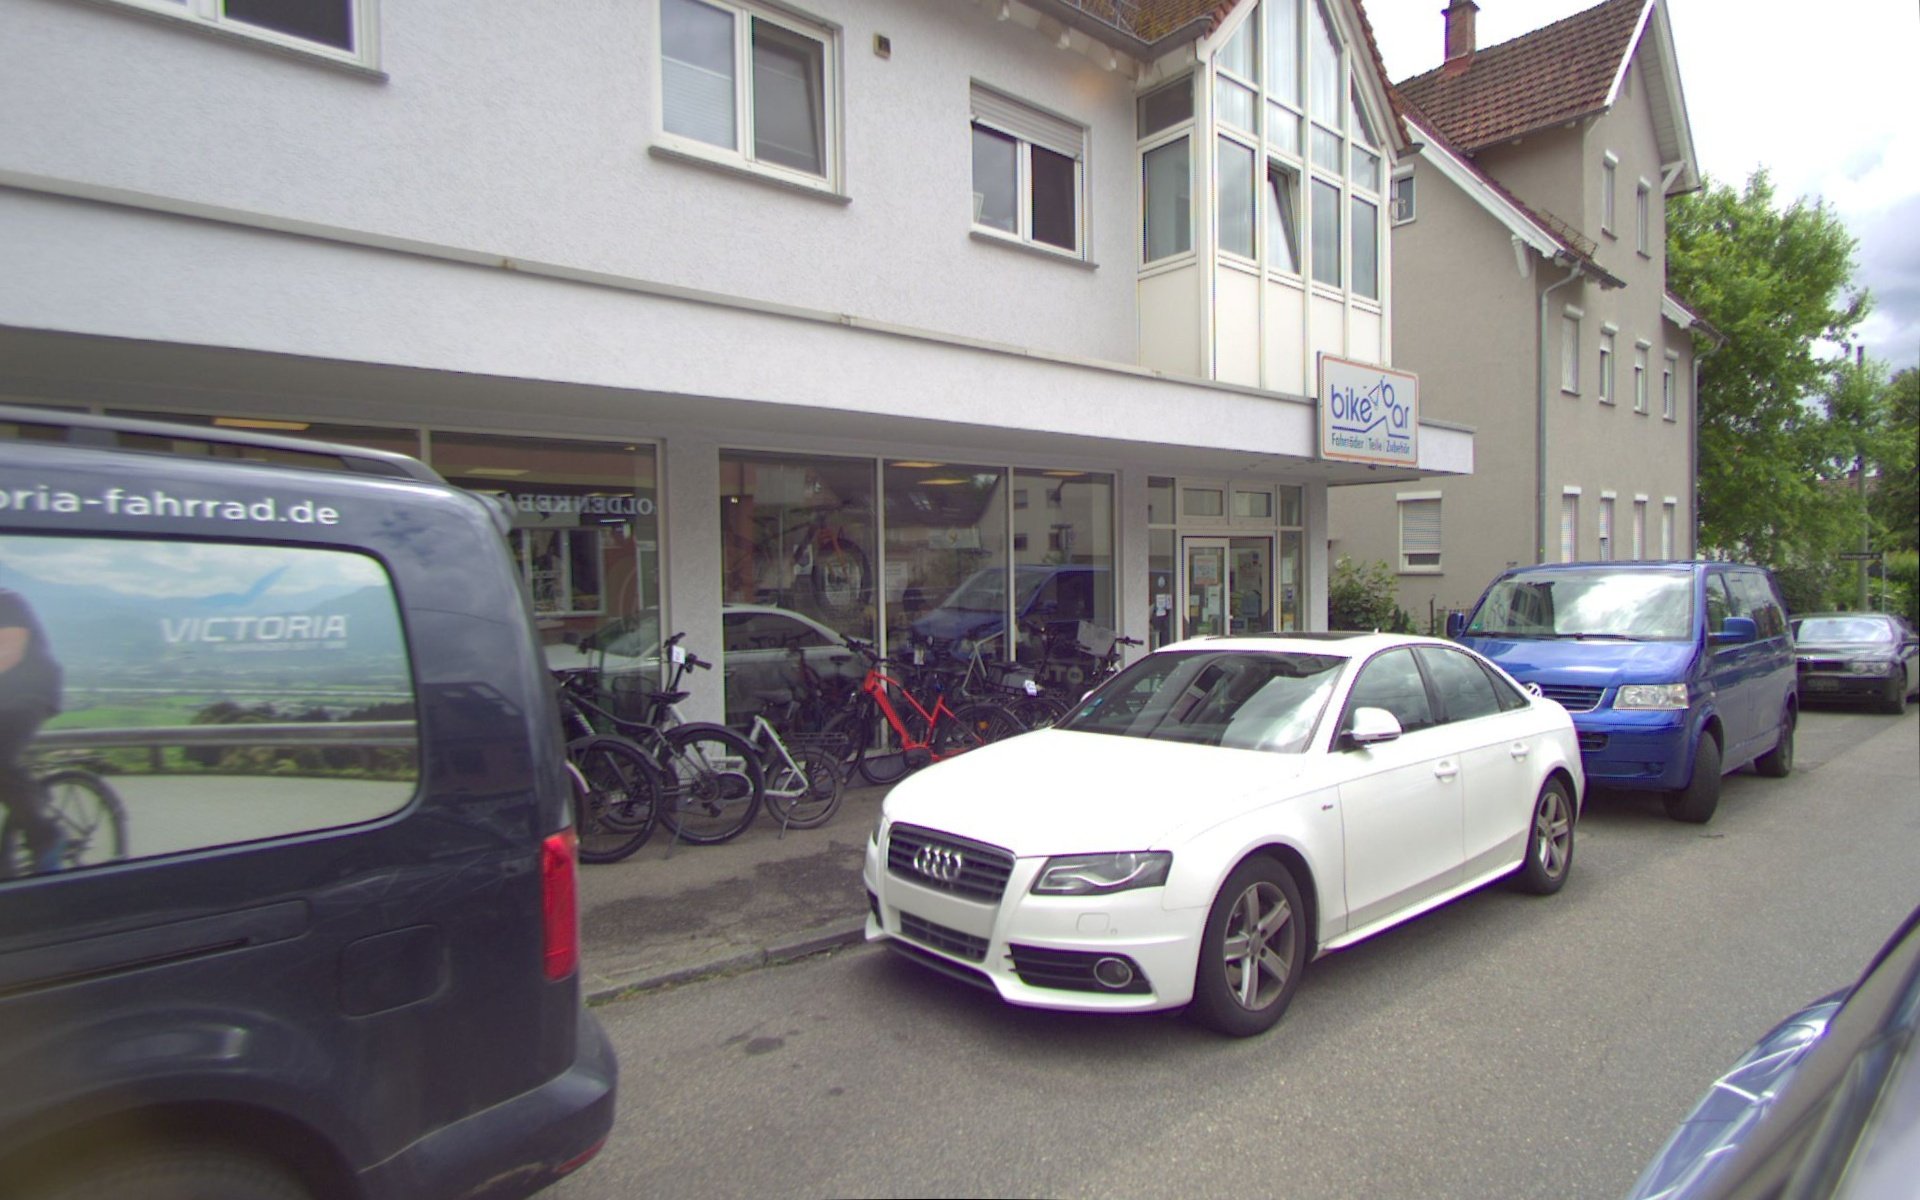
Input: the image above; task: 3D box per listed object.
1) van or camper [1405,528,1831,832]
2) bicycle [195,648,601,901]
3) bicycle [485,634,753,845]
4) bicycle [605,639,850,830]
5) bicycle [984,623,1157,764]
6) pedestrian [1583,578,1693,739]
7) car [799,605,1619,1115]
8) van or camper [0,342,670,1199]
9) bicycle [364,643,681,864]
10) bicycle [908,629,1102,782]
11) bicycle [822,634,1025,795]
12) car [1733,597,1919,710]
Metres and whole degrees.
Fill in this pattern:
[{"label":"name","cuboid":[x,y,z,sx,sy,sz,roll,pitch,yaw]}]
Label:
[{"label":"van or camper","cuboid":[5.898,0.515,8.797,4.747,1.950,1.929,0,0,-42]},{"label":"bicycle","cuboid":[-2.715,0.826,5.030,1.690,1.127,0.439,1,1,-13]},{"label":"bicycle","cuboid":[-1.961,0.805,5.908,1.437,1.174,0.251,1,1,-8]},{"label":"bicycle","cuboid":[-1.430,0.828,6.303,1.436,1.127,0.251,1,1,-10]},{"label":"bicycle","cuboid":[0.948,0.769,8.595,1.436,1.127,0.340,1,1,-22]},{"label":"pedestrian","cuboid":[7.637,0.631,11.433,0.607,1.747,0.874,0,0,-5]},{"label":"car","cuboid":[1.593,0.765,5.086,4.558,1.454,1.716,0,-1,-41]},{"label":"van or camper","cuboid":[-2.935,0.566,1.298,4.599,1.852,1.874,0,-1,-41]},{"label":"bicycle","cuboid":[-2.348,0.821,5.528,1.543,1.127,0.298,1,1,-10]},{"label":"bicycle","cuboid":[0.347,0.811,7.881,1.436,1.127,0.340,1,1,-10]},{"label":"bicycle","cuboid":[-0.271,0.836,7.430,1.436,1.127,0.251,1,1,-10]},{"label":"car","cuboid":[14.187,0.732,16.155,4.806,1.537,1.997,0,-1,-41]}]
